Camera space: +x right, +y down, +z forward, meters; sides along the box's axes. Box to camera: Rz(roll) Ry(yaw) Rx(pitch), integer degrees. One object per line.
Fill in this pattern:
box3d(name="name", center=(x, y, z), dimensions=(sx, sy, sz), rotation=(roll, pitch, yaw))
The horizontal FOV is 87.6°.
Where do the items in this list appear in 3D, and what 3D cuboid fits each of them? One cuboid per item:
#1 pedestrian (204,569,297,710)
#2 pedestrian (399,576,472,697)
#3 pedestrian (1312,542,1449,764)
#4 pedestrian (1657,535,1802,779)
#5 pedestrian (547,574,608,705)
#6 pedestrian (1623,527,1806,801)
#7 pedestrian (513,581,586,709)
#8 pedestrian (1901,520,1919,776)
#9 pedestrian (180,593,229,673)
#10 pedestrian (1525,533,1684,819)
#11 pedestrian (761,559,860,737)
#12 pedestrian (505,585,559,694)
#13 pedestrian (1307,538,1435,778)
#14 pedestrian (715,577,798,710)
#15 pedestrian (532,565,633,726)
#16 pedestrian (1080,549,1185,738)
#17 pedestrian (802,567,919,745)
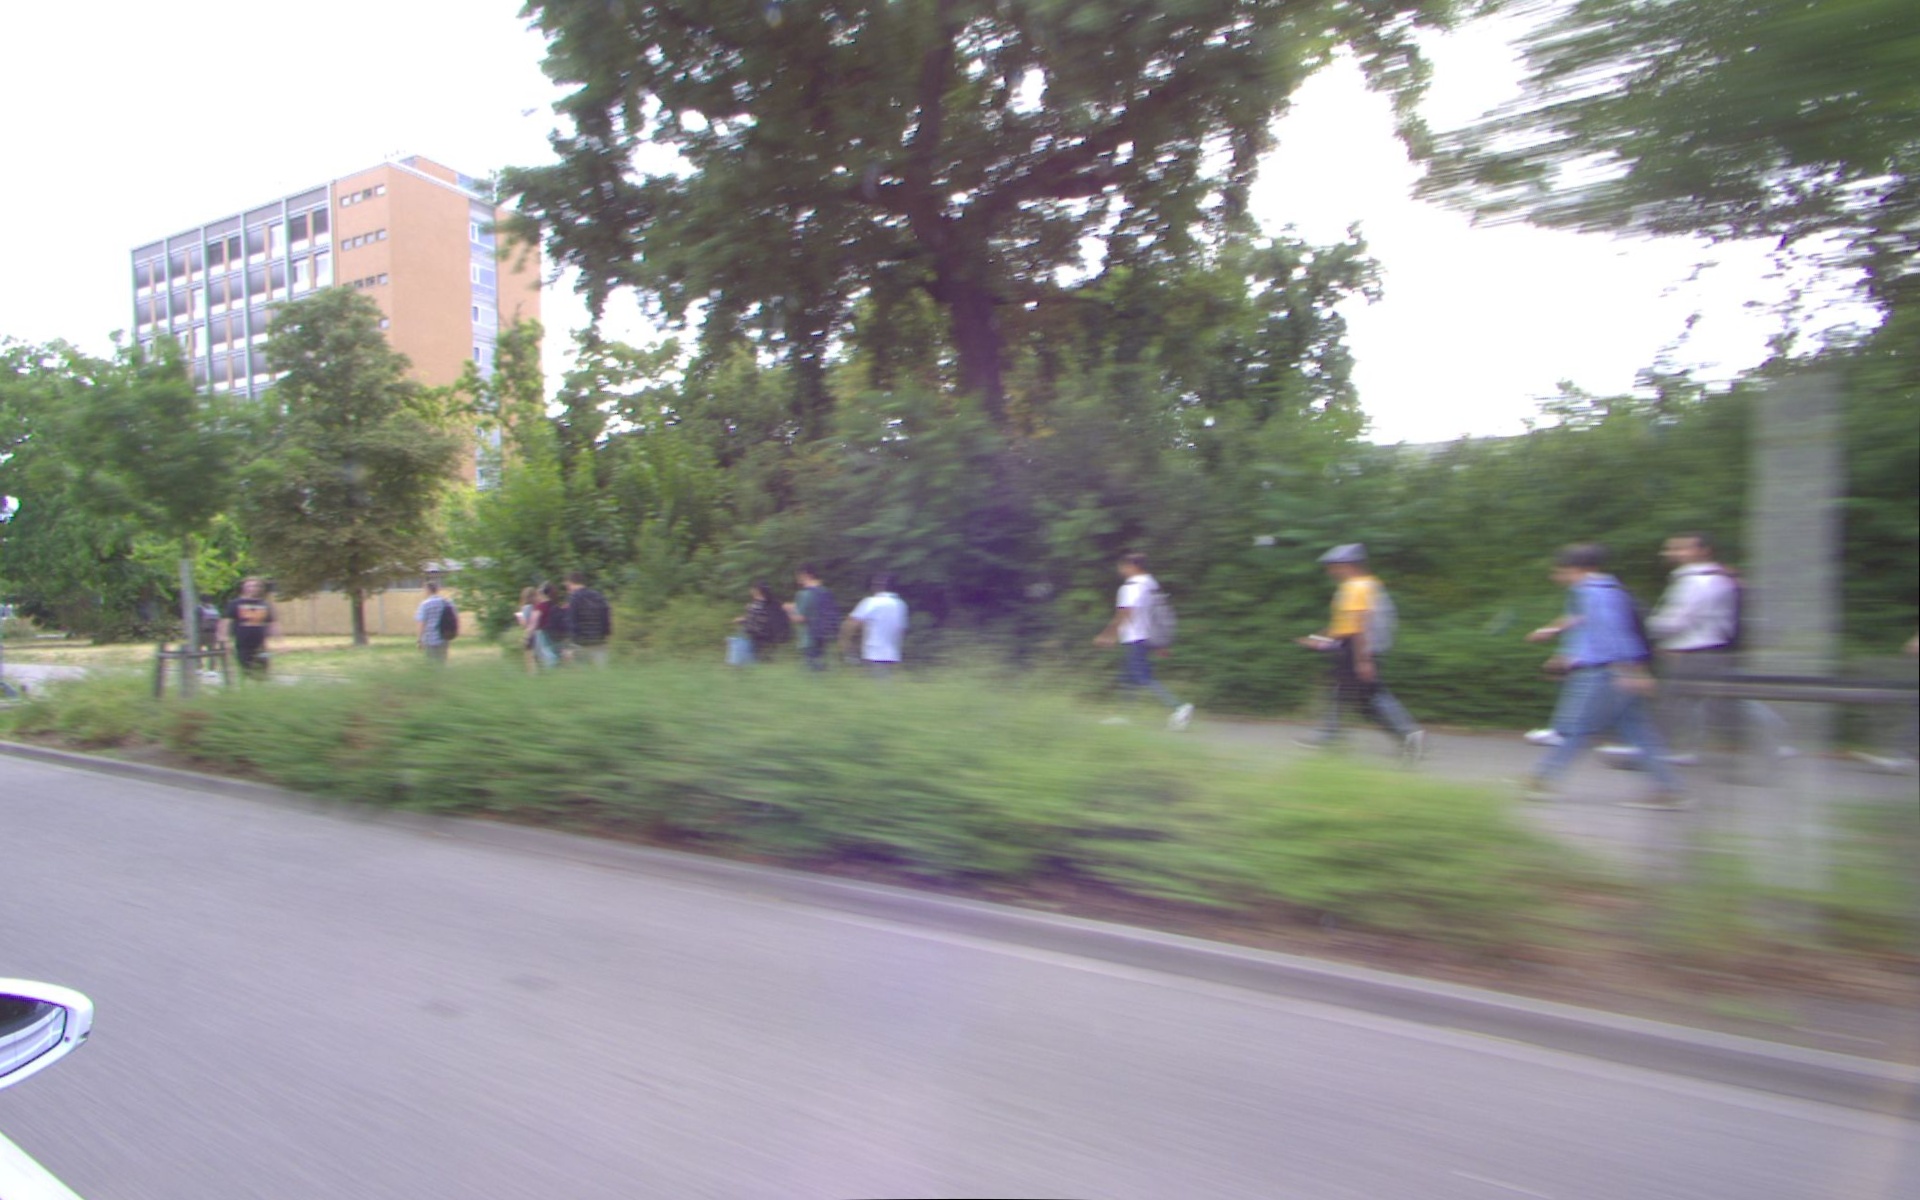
box3d(name="pedestrian", center=(-9.718, 0.518, 13.759), dimensions=(0.924, 1.855, 0.882), rotation=(-1, 1, -31))
box3d(name="pedestrian", center=(-7.853, 0.534, 15.005), dimensions=(0.803, 1.759, 0.617), rotation=(0, 1, 32))
box3d(name="pedestrian", center=(3.415, 0.406, 8.128), dimensions=(0.956, 1.689, 0.655), rotation=(0, 1, 30))
box3d(name="pedestrian", center=(5.771, 0.405, 7.553), dimensions=(0.768, 1.722, 0.655), rotation=(0, 1, 30))
box3d(name="pedestrian", center=(-5.392, 0.543, 14.108), dimensions=(0.654, 1.787, 0.483), rotation=(0, 1, 32))
box3d(name="pedestrian", center=(5.265, 0.422, 7.053), dimensions=(0.943, 1.790, 0.655), rotation=(0, 1, 30))
box3d(name="pedestrian", center=(-5.535, 0.588, 13.493), dimensions=(0.742, 1.677, 0.554), rotation=(0, 1, 32))
box3d(name="pedestrian", center=(6.989, 0.331, 6.766), dimensions=(0.768, 1.769, 0.655), rotation=(0, 1, 30))
box3d(name="pedestrian", center=(-16.366, 0.705, 21.694), dimensions=(0.737, 1.705, 0.586), rotation=(0, 1, 32))
box3d(name="pedestrian", center=(4.027, 0.443, 6.322), dimensions=(0.800, 1.670, 0.655), rotation=(0, 1, 30))
box3d(name="pedestrian", center=(-1.612, 0.495, 10.833), dimensions=(0.800, 1.846, 0.654), rotation=(0, 1, 32))
box3d(name="pedestrian", center=(-6.656, 0.603, 15.579), dimensions=(0.643, 1.655, 0.467), rotation=(0, 1, 32))
box3d(name="pedestrian", center=(3.138, 0.415, 7.637), dimensions=(0.829, 1.712, 0.655), rotation=(0, 1, 30))
box3d(name="pedestrian", center=(-2.549, 0.528, 12.560), dimensions=(0.774, 1.605, 0.634), rotation=(0, 1, 32))
box3d(name="pedestrian", center=(-4.537, 0.525, 12.044), dimensions=(0.940, 1.846, 0.691), rotation=(0, 1, 32))
box3d(name="pedestrian", center=(1.706, 0.411, 9.874), dimensions=(0.800, 1.768, 0.719), rotation=(0, 1, 32))
box3d(name="pedestrian", center=(-0.954, 0.509, 9.680), dimensions=(0.800, 1.624, 0.774), rotation=(0, 1, 32))
